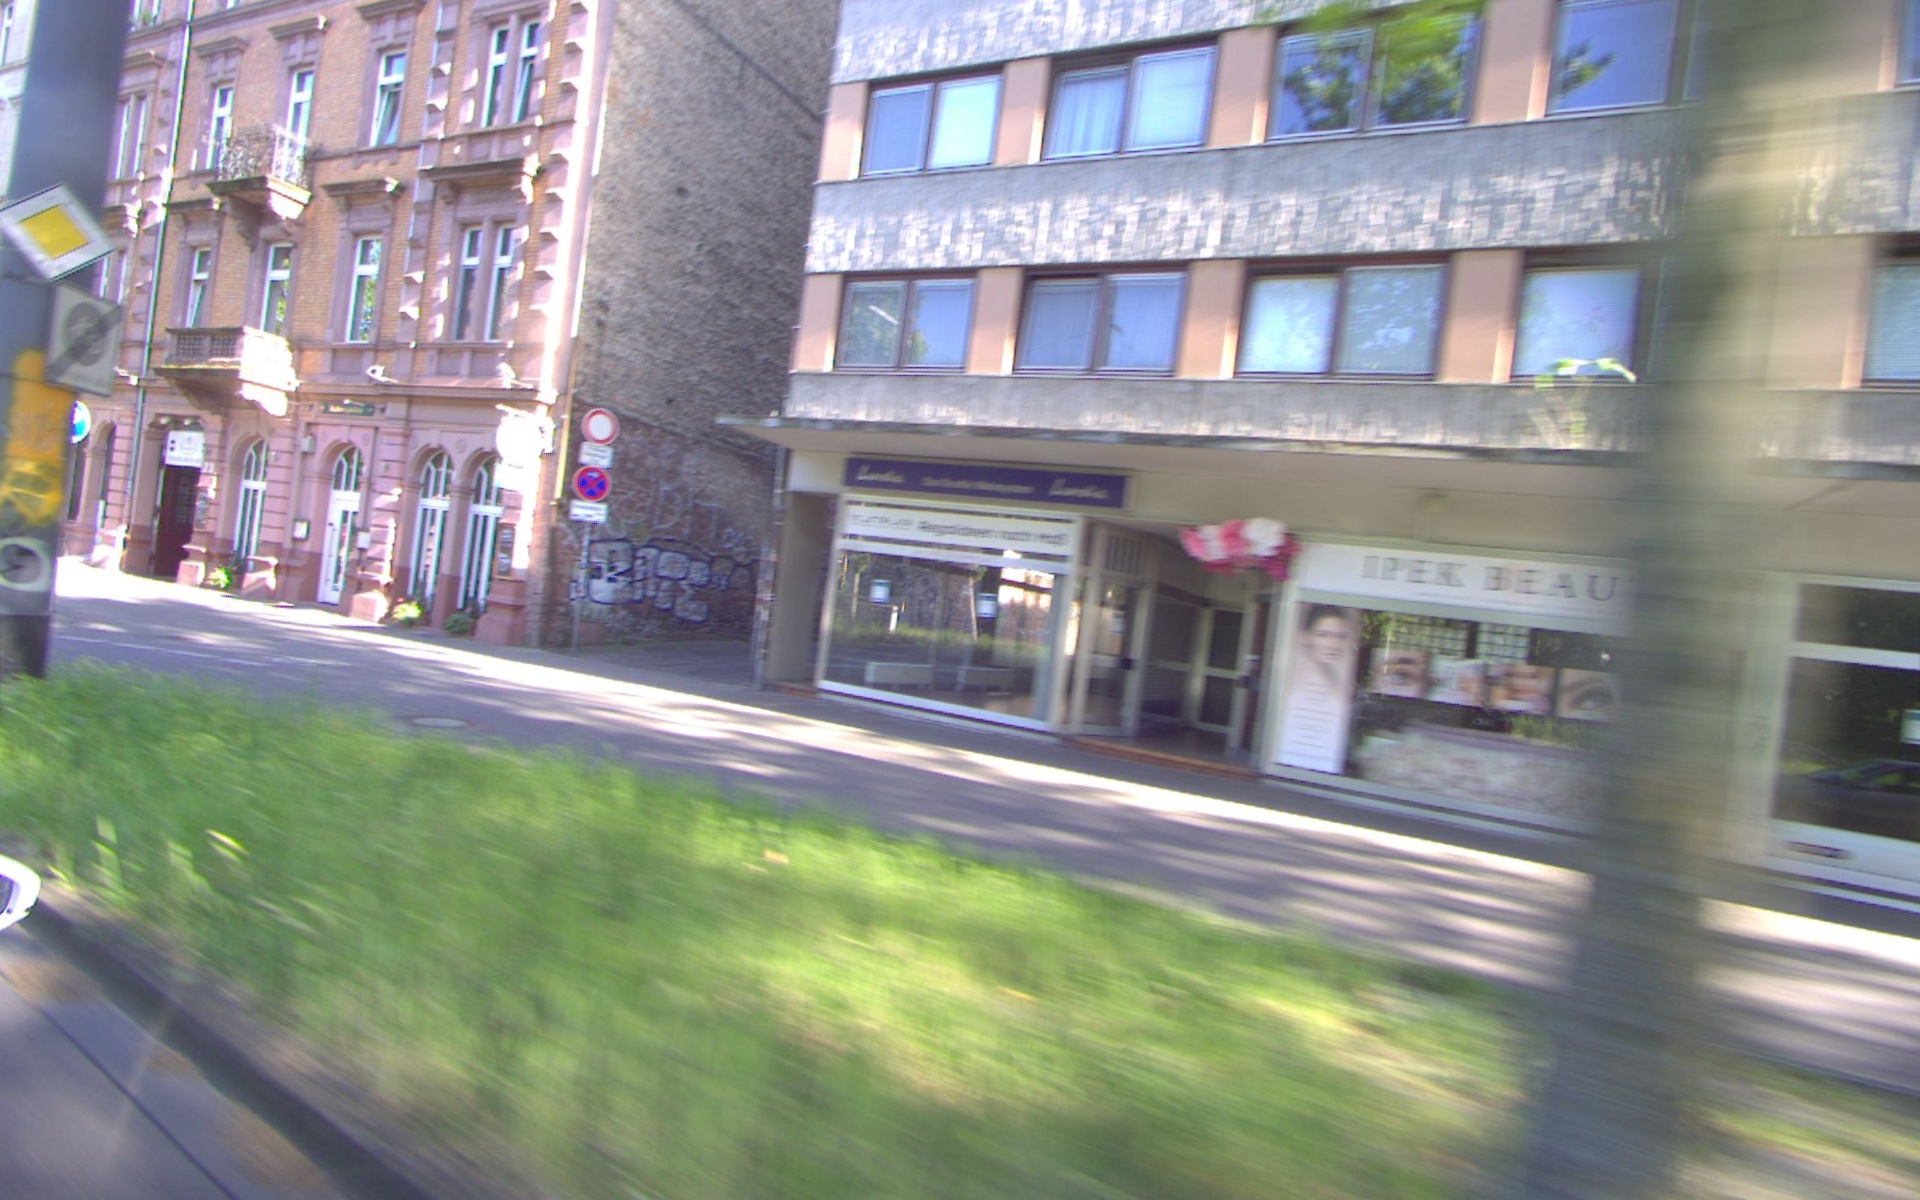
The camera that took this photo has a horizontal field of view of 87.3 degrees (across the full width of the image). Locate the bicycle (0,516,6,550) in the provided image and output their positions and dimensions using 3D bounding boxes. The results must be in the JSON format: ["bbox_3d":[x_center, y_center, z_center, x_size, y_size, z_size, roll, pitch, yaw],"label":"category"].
[{"bbox_3d":[-24.441,-1.688,24.964,1.658,1.004,0.444,8,-2,26],"label":"bicycle"}]

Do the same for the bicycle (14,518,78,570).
[{"bbox_3d":[-21.718,-1.342,23.900,1.658,1.004,0.444,8,-2,26],"label":"bicycle"}]
